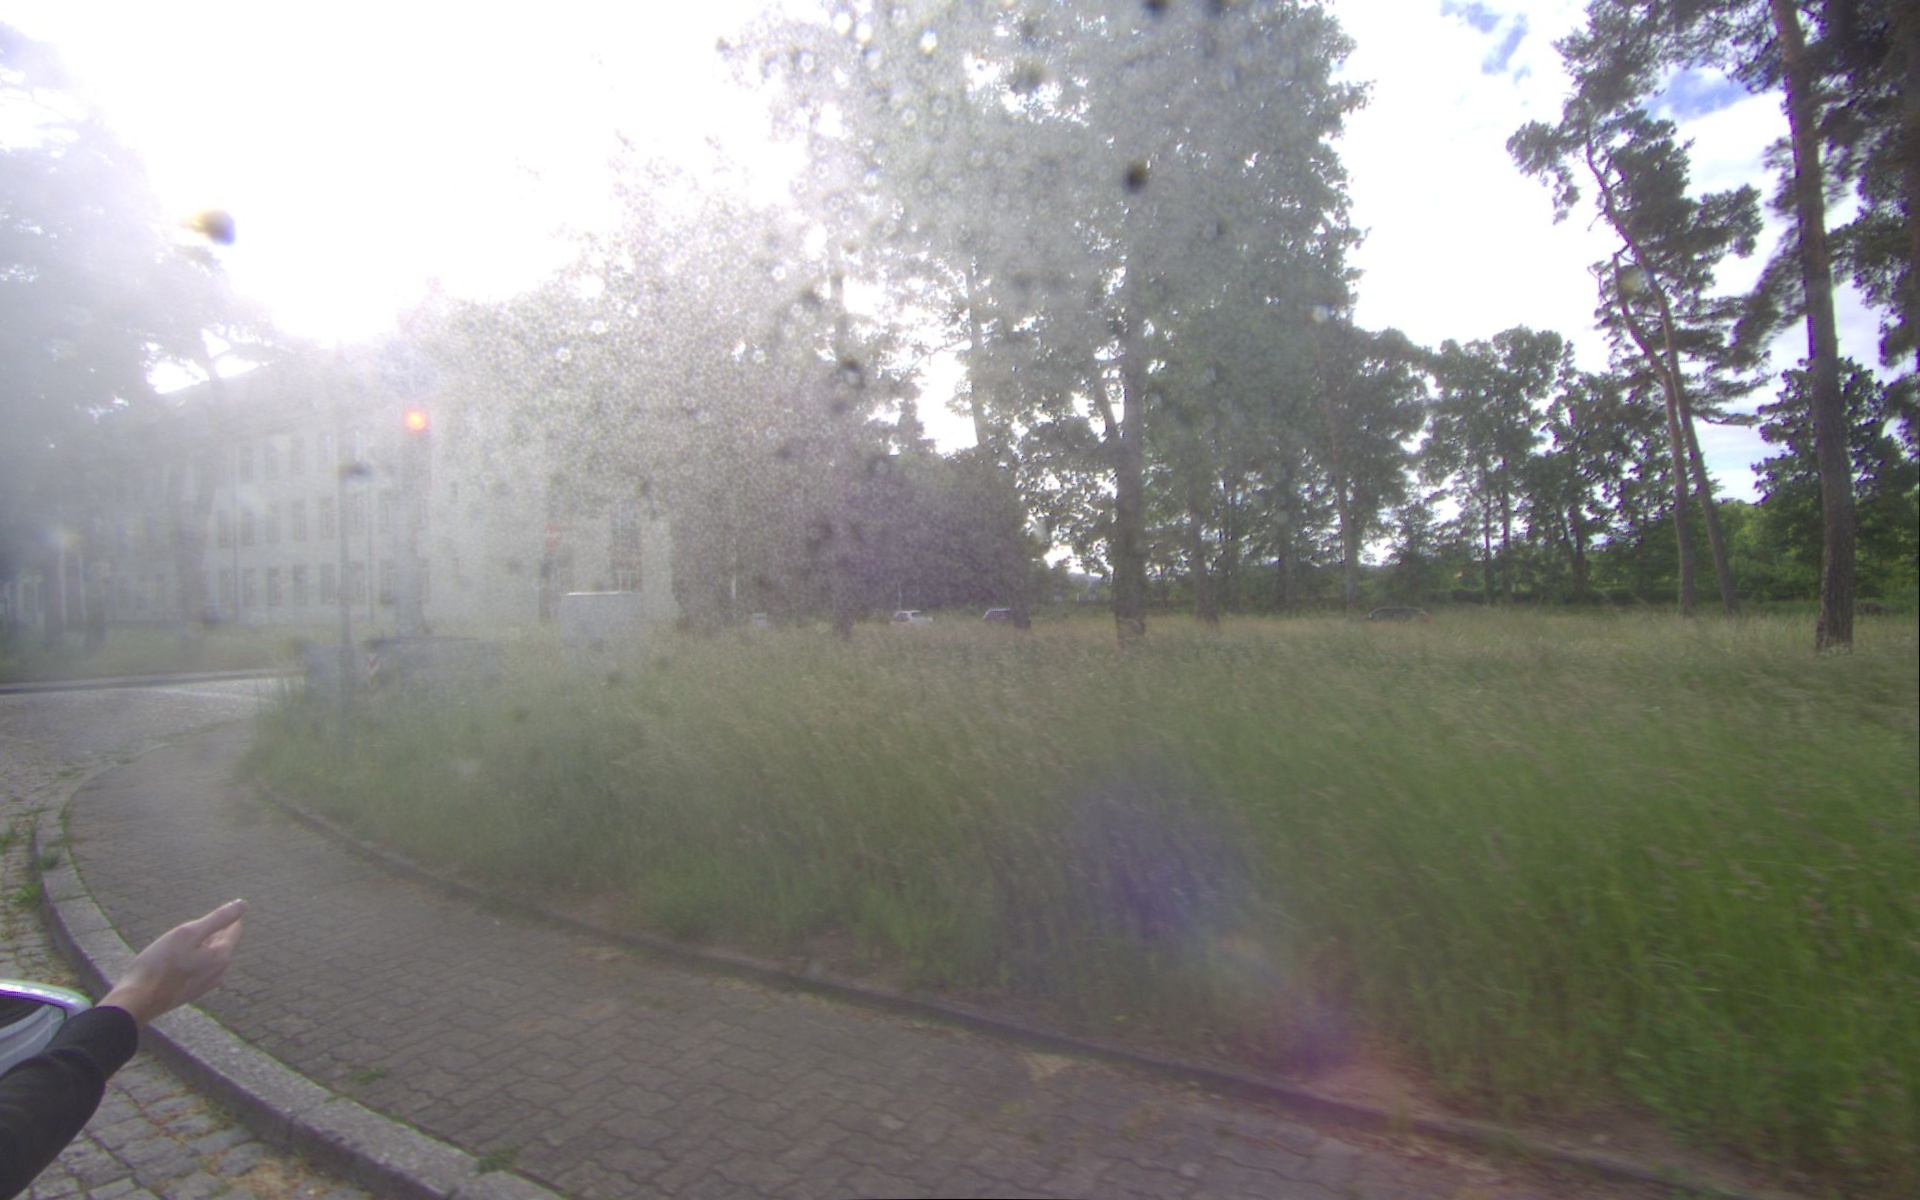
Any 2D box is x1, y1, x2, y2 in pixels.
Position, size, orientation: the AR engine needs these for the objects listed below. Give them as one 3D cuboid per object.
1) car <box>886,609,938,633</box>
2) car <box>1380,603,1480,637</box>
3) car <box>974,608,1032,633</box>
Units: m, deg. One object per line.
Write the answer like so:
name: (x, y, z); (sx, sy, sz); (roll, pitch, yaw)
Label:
car: (-3.240, 1.421, 68.246); (1.748, 1.553, 3.674); (-1, 0, 32)
car: (23.326, 0.969, 49.738); (4.384, 1.607, 1.991); (-1, 0, 30)
car: (2.787, 1.286, 63.661); (1.972, 1.553, 3.979); (-1, 0, 32)
